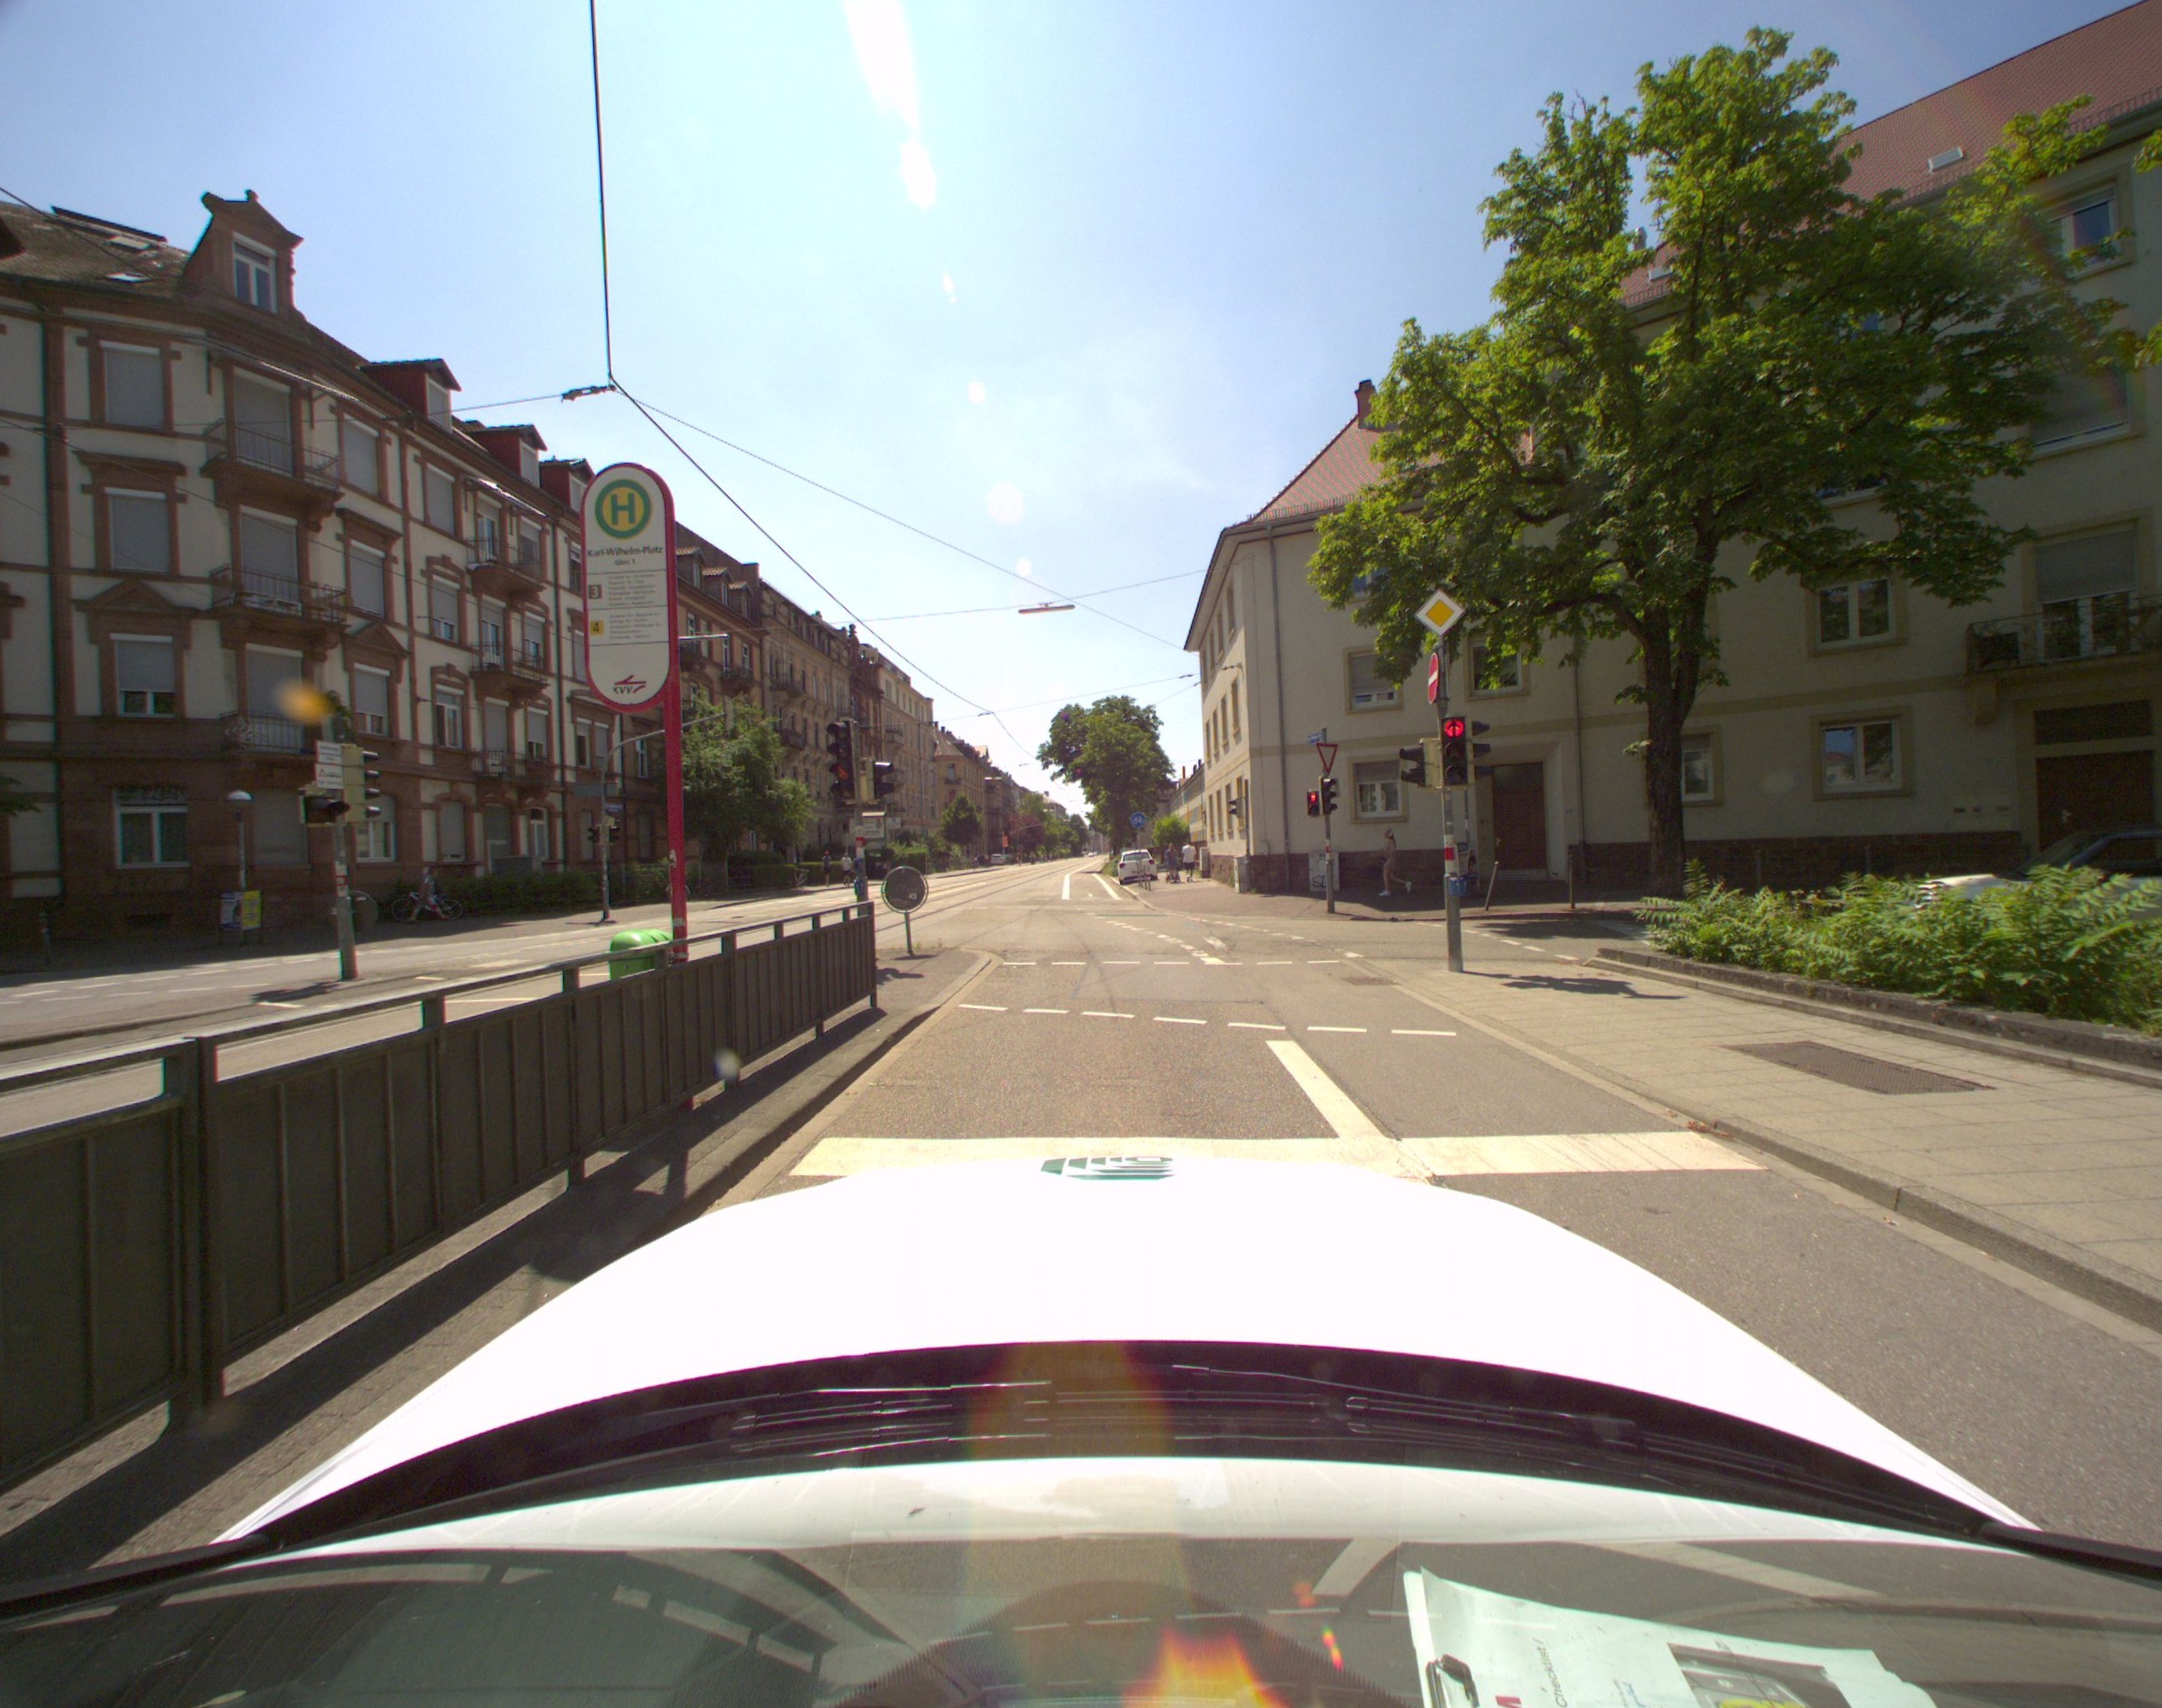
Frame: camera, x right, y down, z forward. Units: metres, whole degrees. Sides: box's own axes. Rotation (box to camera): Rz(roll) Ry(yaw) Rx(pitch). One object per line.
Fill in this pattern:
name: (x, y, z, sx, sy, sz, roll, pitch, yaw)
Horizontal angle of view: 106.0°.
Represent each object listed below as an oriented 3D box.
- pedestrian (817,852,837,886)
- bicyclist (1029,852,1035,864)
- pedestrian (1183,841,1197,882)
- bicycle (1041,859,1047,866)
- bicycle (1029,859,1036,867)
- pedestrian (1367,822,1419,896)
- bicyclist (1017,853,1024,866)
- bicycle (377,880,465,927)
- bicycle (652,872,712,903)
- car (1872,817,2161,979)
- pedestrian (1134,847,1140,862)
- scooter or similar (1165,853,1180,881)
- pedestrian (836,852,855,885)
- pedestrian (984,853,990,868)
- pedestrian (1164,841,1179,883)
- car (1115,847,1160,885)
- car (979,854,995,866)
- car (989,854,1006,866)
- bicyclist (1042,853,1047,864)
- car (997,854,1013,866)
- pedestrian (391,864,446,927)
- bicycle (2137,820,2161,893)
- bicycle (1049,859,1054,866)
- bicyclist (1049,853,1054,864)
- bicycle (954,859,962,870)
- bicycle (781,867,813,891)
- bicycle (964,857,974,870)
pedestrian: (-13.940, 0.813, 44.633, 0.814, 1.822, 0.873, 0, 1, -2)
bicyclist: (-6.949, 0.609, 116.249, 0.724, 1.768, 1.080, 0, -1, 3)
pedestrian: (4.419, 0.316, 33.087, 0.554, 1.645, 0.678, 0, -1, 7)
bicycle: (-6.329, 1.441, 139.078, 0.724, 1.123, 2.087, 0, -1, 4)
bicycle: (-6.958, 1.267, 116.235, 0.724, 1.123, 2.087, 0, -1, 4)
pedestrian: (7.773, 0.127, 20.284, 1.044, 1.690, 0.657, -6, 3, 22)
bicyclist: (-7.674, 0.672, 103.422, 0.724, 1.629, 1.080, 0, -1, 3)
bicycle: (-19.552, 1.440, 24.160, 0.557, 1.294, 1.975, -1, -1, 43)
bicycle: (-15.667, 1.303, 32.081, 0.934, 1.136, 2.774, 0, -1, 1)
car: (10.623, 0.389, 8.281, 1.715, 1.506, 3.607, -2, 1, -43)
pedestrian: (5.864, 0.056, 84.716, 0.519, 1.562, 0.573, -2, 0, 1)
scooter or similar: (3.797, 0.537, 33.815, 0.554, 1.155, 1.207, 0, -1, 5)
pedestrian: (-12.989, 0.797, 44.961, 0.814, 1.822, 0.873, 0, 1, -2)
pedestrian: (-10.598, 0.676, 91.613, 0.519, 1.659, 0.529, -2, 0, 1)
pedestrian: (3.657, 0.320, 32.867, 0.554, 1.645, 0.678, 0, -1, 7)
car: (2.528, 0.535, 37.401, 1.808, 1.516, 4.001, -4, -1, 2)
car: (-14.321, 0.906, 124.467, 1.912, 1.715, 4.001, 0, -1, 2)
car: (-11.870, 0.819, 116.064, 1.912, 1.715, 4.001, 0, -1, 2)
bicyclist: (-6.317, 0.800, 139.183, 0.724, 1.818, 1.080, 0, -1, 3)
car: (-11.649, 0.885, 124.328, 1.912, 1.715, 4.001, 0, -1, 2)
pedestrian: (-18.961, 1.171, 23.313, 0.713, 1.689, 1.068, -2, 0, 43)
bicycle: (17.012, 0.024, 12.080, 0.527, 1.104, 1.589, -2, 0, -34)
bicycle: (-5.037, 1.405, 139.195, 0.724, 1.123, 2.087, 0, -1, 4)
bicyclist: (-5.032, 0.766, 139.236, 0.724, 1.818, 1.080, 0, -1, 3)
bicycle: (-12.147, 1.036, 80.498, 0.677, 1.064, 1.912, -2, 0, -9)
bicycle: (-14.380, 1.258, 41.257, 0.936, 1.136, 2.767, 0, -1, -7)
bicycle: (-11.702, 0.964, 85.135, 0.675, 1.278, 1.918, -2, 0, -1)
